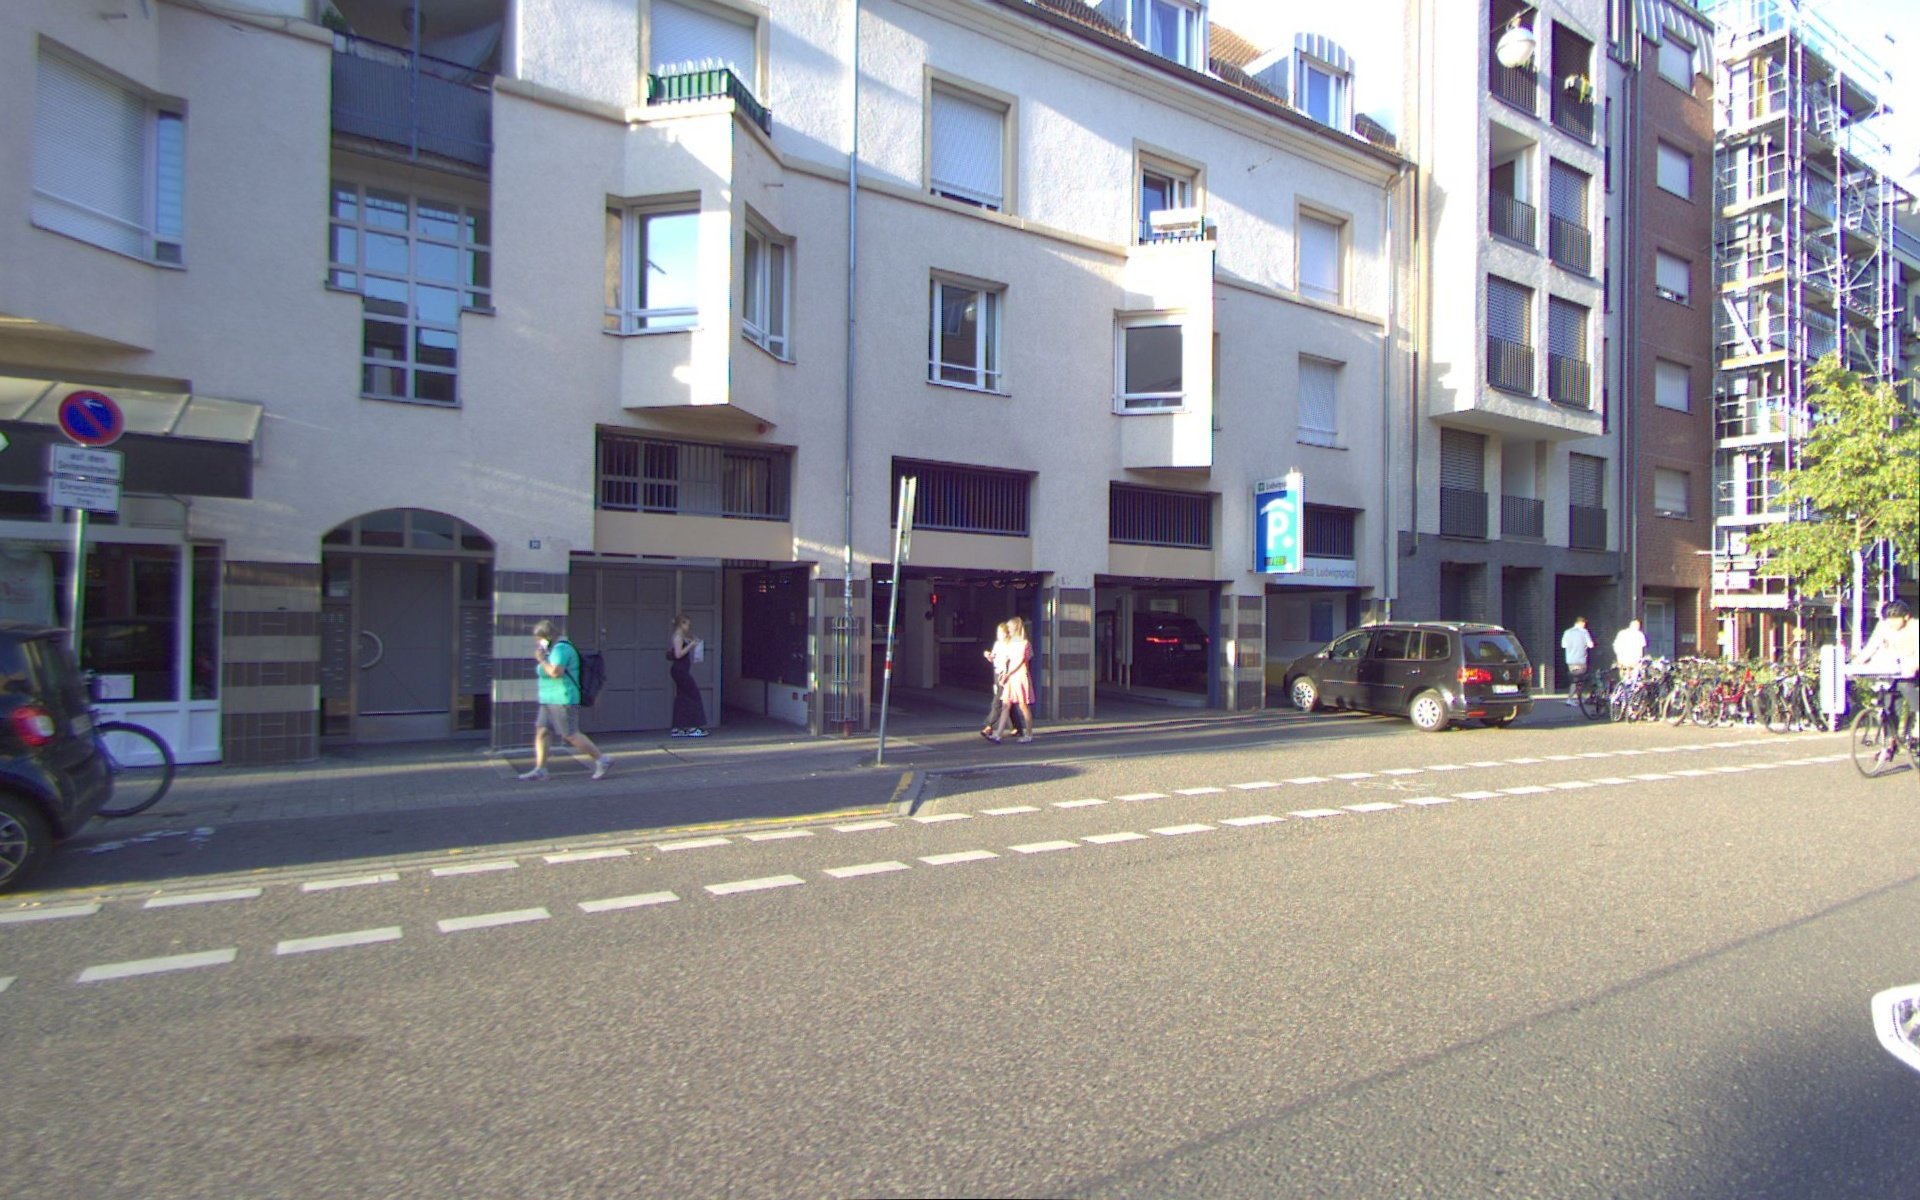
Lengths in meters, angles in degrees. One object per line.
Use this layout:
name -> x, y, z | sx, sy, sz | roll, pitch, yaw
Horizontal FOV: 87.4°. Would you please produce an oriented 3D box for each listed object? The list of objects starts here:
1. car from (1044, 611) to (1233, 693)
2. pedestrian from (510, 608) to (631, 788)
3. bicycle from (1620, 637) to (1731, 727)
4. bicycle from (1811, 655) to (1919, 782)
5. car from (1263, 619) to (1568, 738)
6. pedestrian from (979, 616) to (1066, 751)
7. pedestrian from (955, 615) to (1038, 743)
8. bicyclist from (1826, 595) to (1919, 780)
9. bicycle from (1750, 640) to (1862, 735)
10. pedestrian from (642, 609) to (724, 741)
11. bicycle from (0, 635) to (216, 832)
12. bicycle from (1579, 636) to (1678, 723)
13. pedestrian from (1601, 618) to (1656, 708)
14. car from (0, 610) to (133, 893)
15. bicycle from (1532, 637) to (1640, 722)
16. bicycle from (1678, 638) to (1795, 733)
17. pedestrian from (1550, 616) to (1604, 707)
car -> 3.994, 1.125, 23.288 | 1.975, 1.623, 4.476 | 2, 0, -28
pedestrian -> -3.848, 0.930, 9.916 | 0.942, 1.663, 0.712 | 2, 0, -34
bicycle -> 12.313, 1.358, 17.232 | 3.117, 1.391, 0.774 | 2, 0, -40
bicycle -> 9.883, 1.200, 10.663 | 2.000, 1.220, 0.776 | 2, -2, -34
car -> 7.491, 1.204, 17.050 | 1.974, 1.623, 4.479 | 2, 0, -26
pedestrian -> 0.802, 1.056, 12.988 | 0.844, 1.663, 0.714 | 2, 0, -27
pedestrian -> 0.491, 1.049, 13.662 | 0.844, 1.663, 0.714 | 2, 0, -27
bicyclist -> 9.895, 0.904, 10.691 | 0.997, 1.853, 0.776 | 2, -2, -34
bicycle -> 13.417, 1.322, 15.881 | 3.161, 1.368, 0.837 | 2, -2, -40
pedestrian -> -3.601, 0.952, 13.046 | 0.845, 1.637, 0.713 | 2, 0, -29
bicycle -> -7.057, 0.972, 7.494 | 2.333, 1.393, 0.607 | 2, 0, -32
bicycle -> 11.865, 1.363, 17.765 | 3.135, 1.414, 0.580 | 2, 0, -40
pedestrian -> 13.530, 1.260, 20.343 | 0.732, 1.763, 0.711 | 2, 0, -39
car -> -6.766, 0.819, 5.577 | 3.156, 1.555, 1.781 | 1, -1, -34
bicycle -> 11.437, 1.395, 18.285 | 3.127, 1.414, 0.715 | 2, 0, -40
bicycle -> 12.856, 1.354, 16.574 | 3.140, 1.414, 0.885 | 2, -1, -40
pedestrian -> 12.524, 1.234, 20.404 | 0.688, 1.790, 0.711 | 2, 0, -39
